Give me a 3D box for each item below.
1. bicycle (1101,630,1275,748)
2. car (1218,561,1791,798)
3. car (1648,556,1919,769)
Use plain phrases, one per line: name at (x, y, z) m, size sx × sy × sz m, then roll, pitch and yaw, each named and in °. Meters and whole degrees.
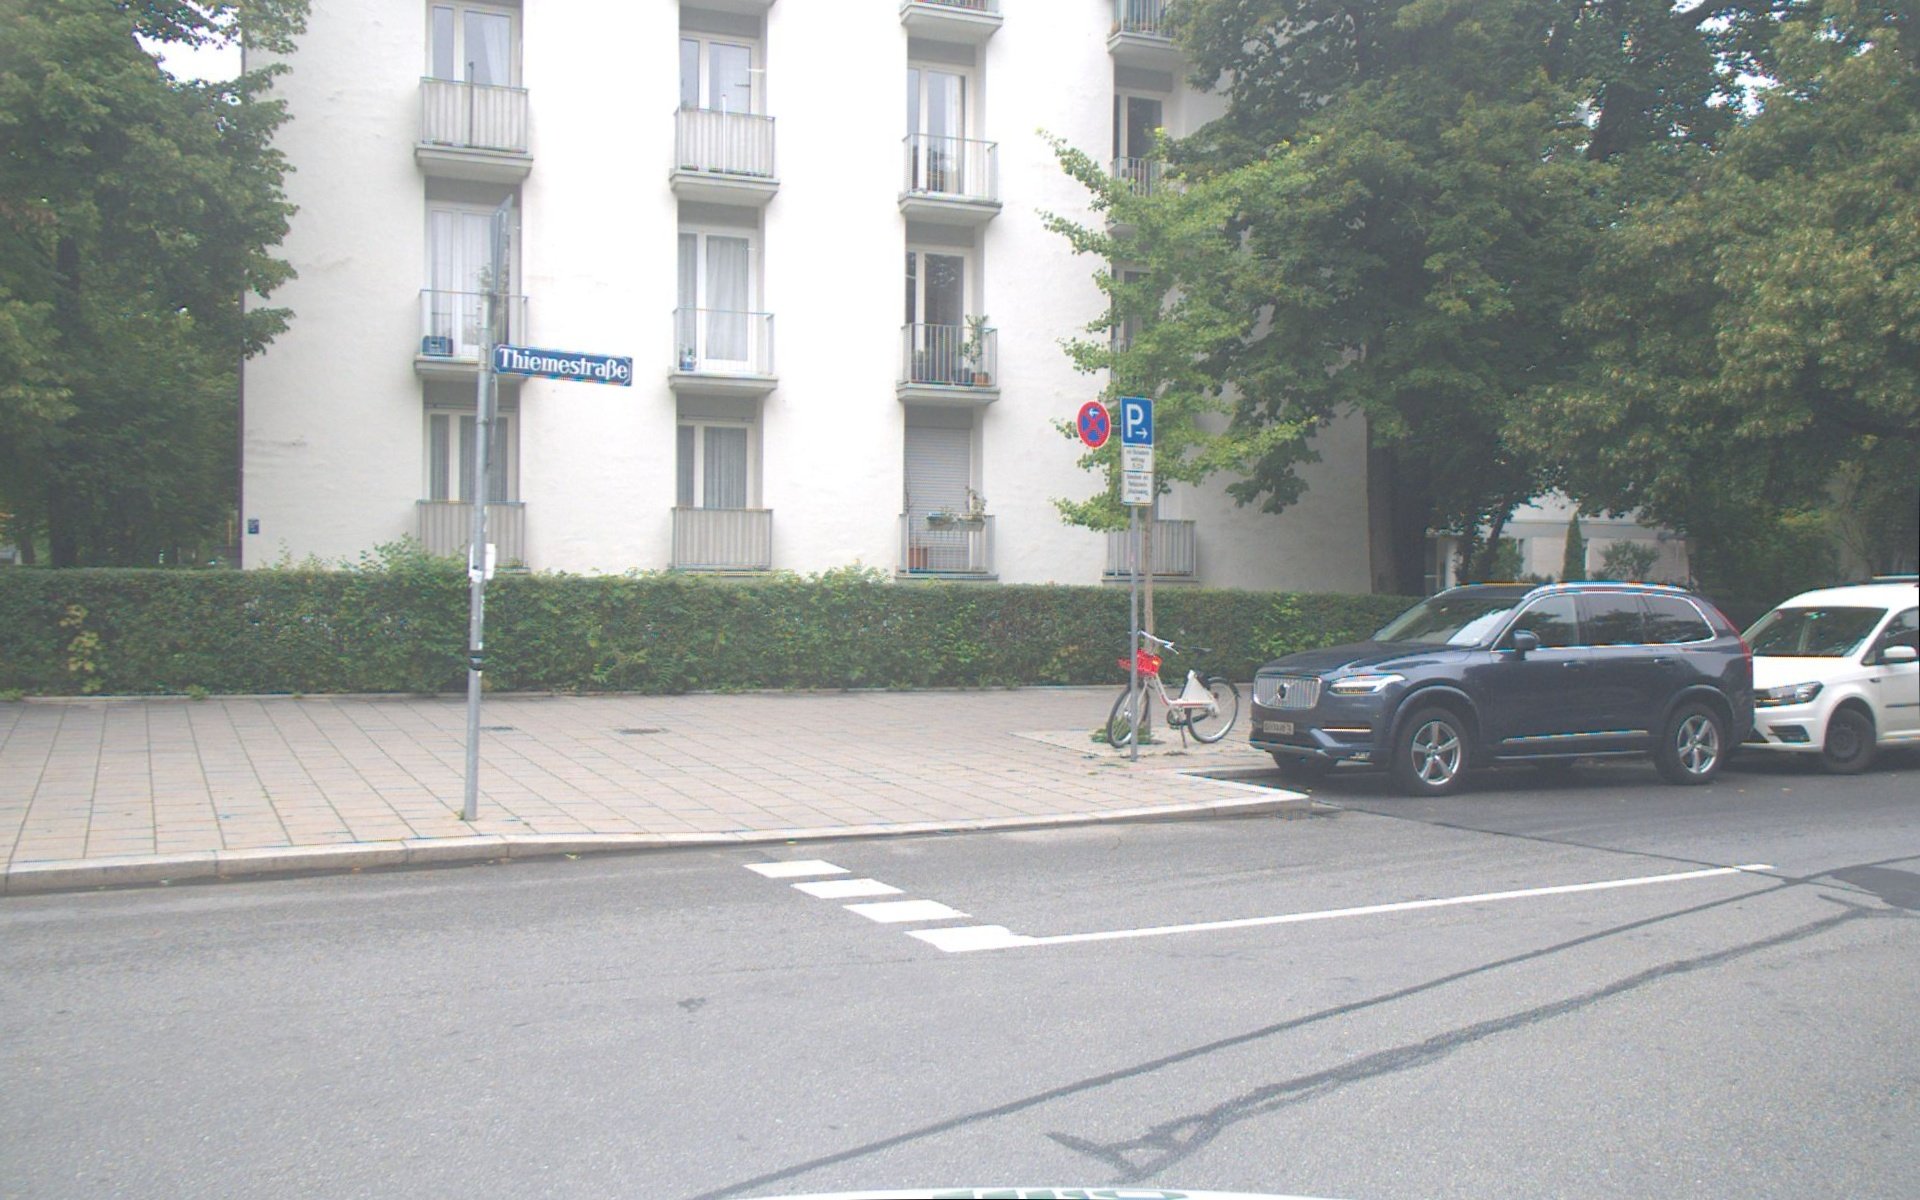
bicycle at (2.250, 0.851, 16.241) m, size 1.806 × 1.067 × 0.486 m, roll 0°, pitch 1°, yaw -32°
car at (4.853, 0.625, 14.660) m, size 4.835 × 1.823 × 1.984 m, roll 0°, pitch -1°, yaw -26°
car at (9.508, 0.591, 17.051) m, size 4.774 × 1.952 × 1.820 m, roll 0°, pitch -1°, yaw -27°
